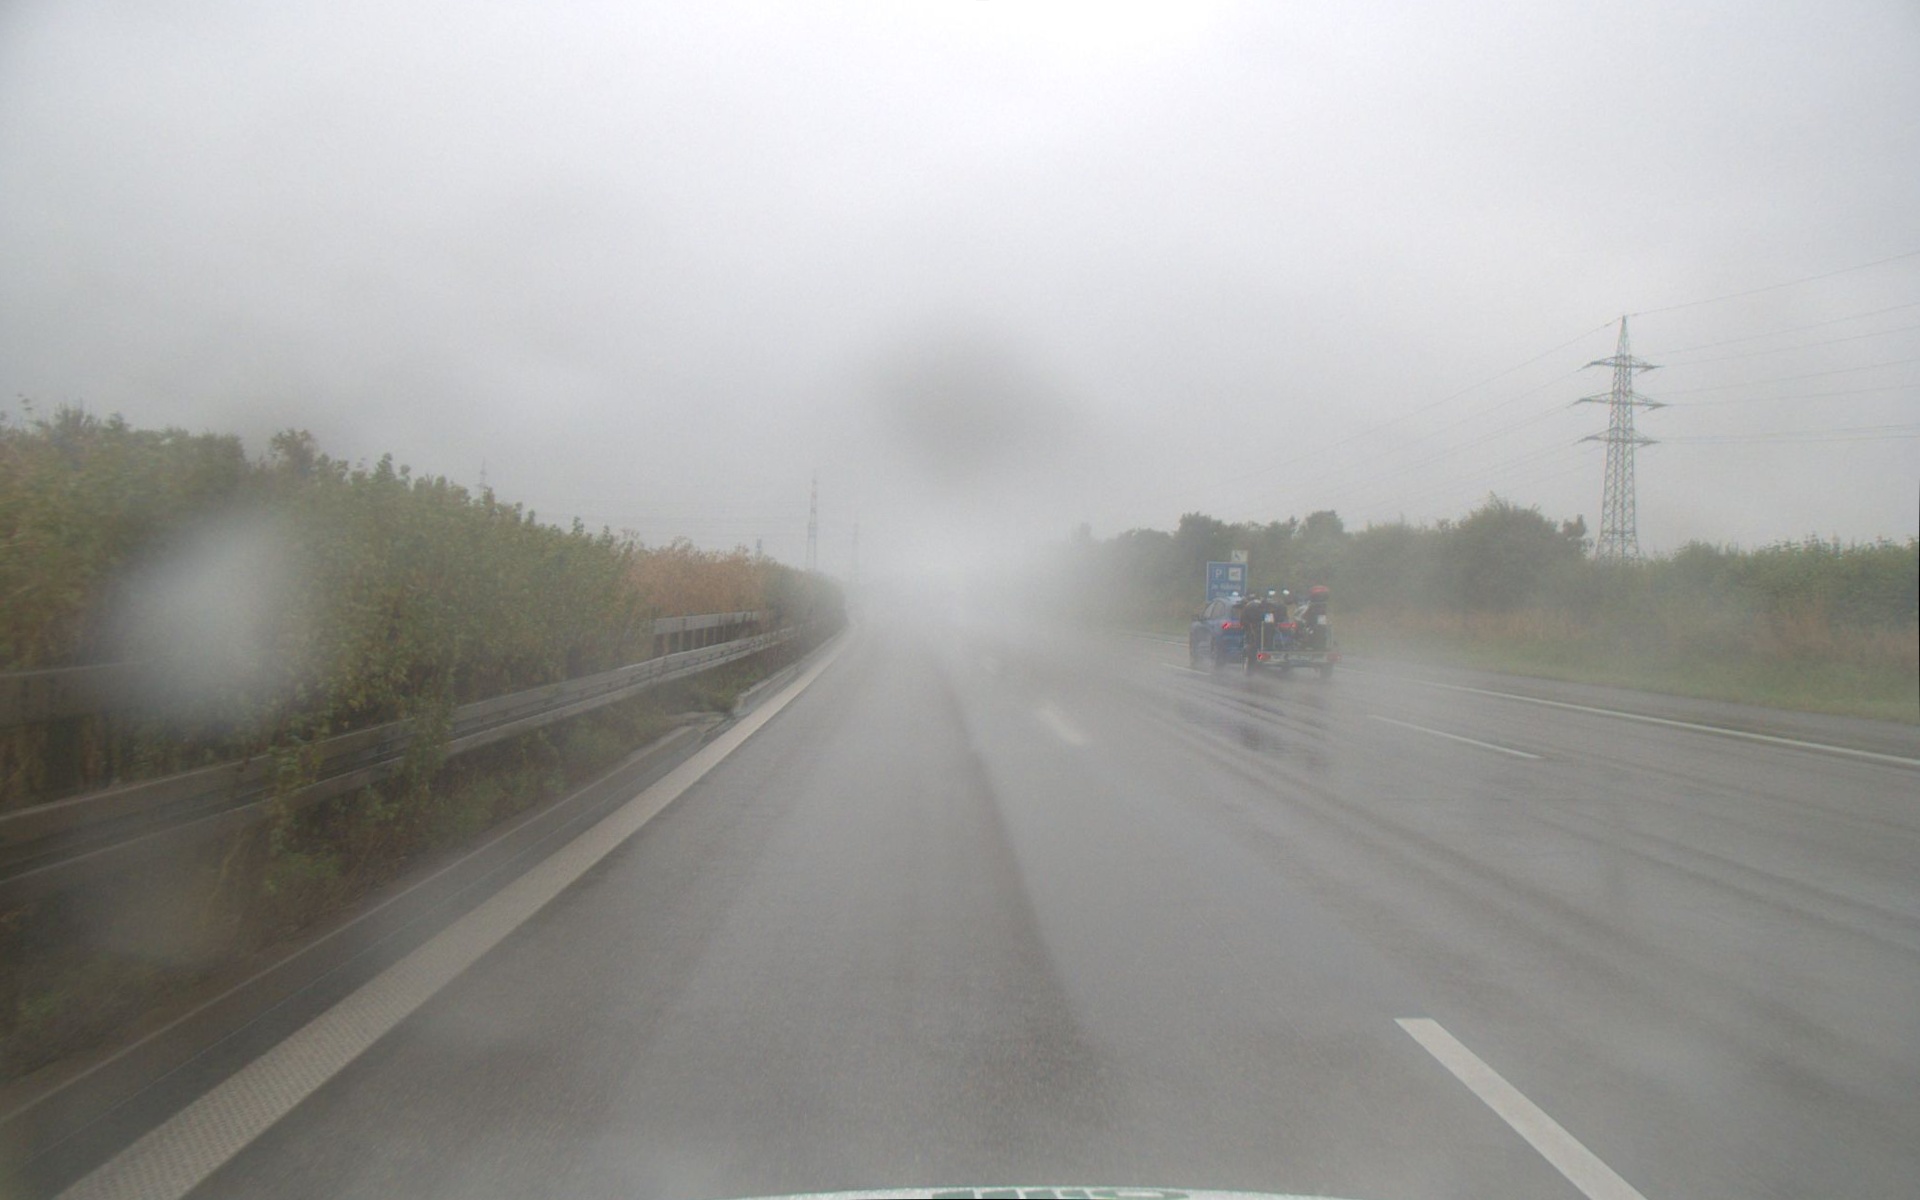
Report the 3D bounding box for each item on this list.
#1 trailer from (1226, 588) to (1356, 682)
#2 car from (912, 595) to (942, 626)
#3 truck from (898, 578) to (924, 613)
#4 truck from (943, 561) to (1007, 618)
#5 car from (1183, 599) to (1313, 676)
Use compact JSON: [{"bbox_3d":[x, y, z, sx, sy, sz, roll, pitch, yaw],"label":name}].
[{"bbox_3d":[6.740,0.712,33.985,1.939,1.816,3.187,1,-1,-2],"label":"trailer"},{"bbox_3d":[-2.223,0.688,110.077,1.953,2.049,3.999,1,0,-1],"label":"car"},{"bbox_3d":[-6.432,-0.593,215.527,3.168,4.387,8.830,1,0,-4],"label":"truck"},{"bbox_3d":[1.184,-0.777,144.749,4.107,4.711,16.088,1,-1,-5],"label":"truck"},{"bbox_3d":[6.533,0.843,38.061,1.953,1.647,4.990,1,-1,-2],"label":"car"}]
